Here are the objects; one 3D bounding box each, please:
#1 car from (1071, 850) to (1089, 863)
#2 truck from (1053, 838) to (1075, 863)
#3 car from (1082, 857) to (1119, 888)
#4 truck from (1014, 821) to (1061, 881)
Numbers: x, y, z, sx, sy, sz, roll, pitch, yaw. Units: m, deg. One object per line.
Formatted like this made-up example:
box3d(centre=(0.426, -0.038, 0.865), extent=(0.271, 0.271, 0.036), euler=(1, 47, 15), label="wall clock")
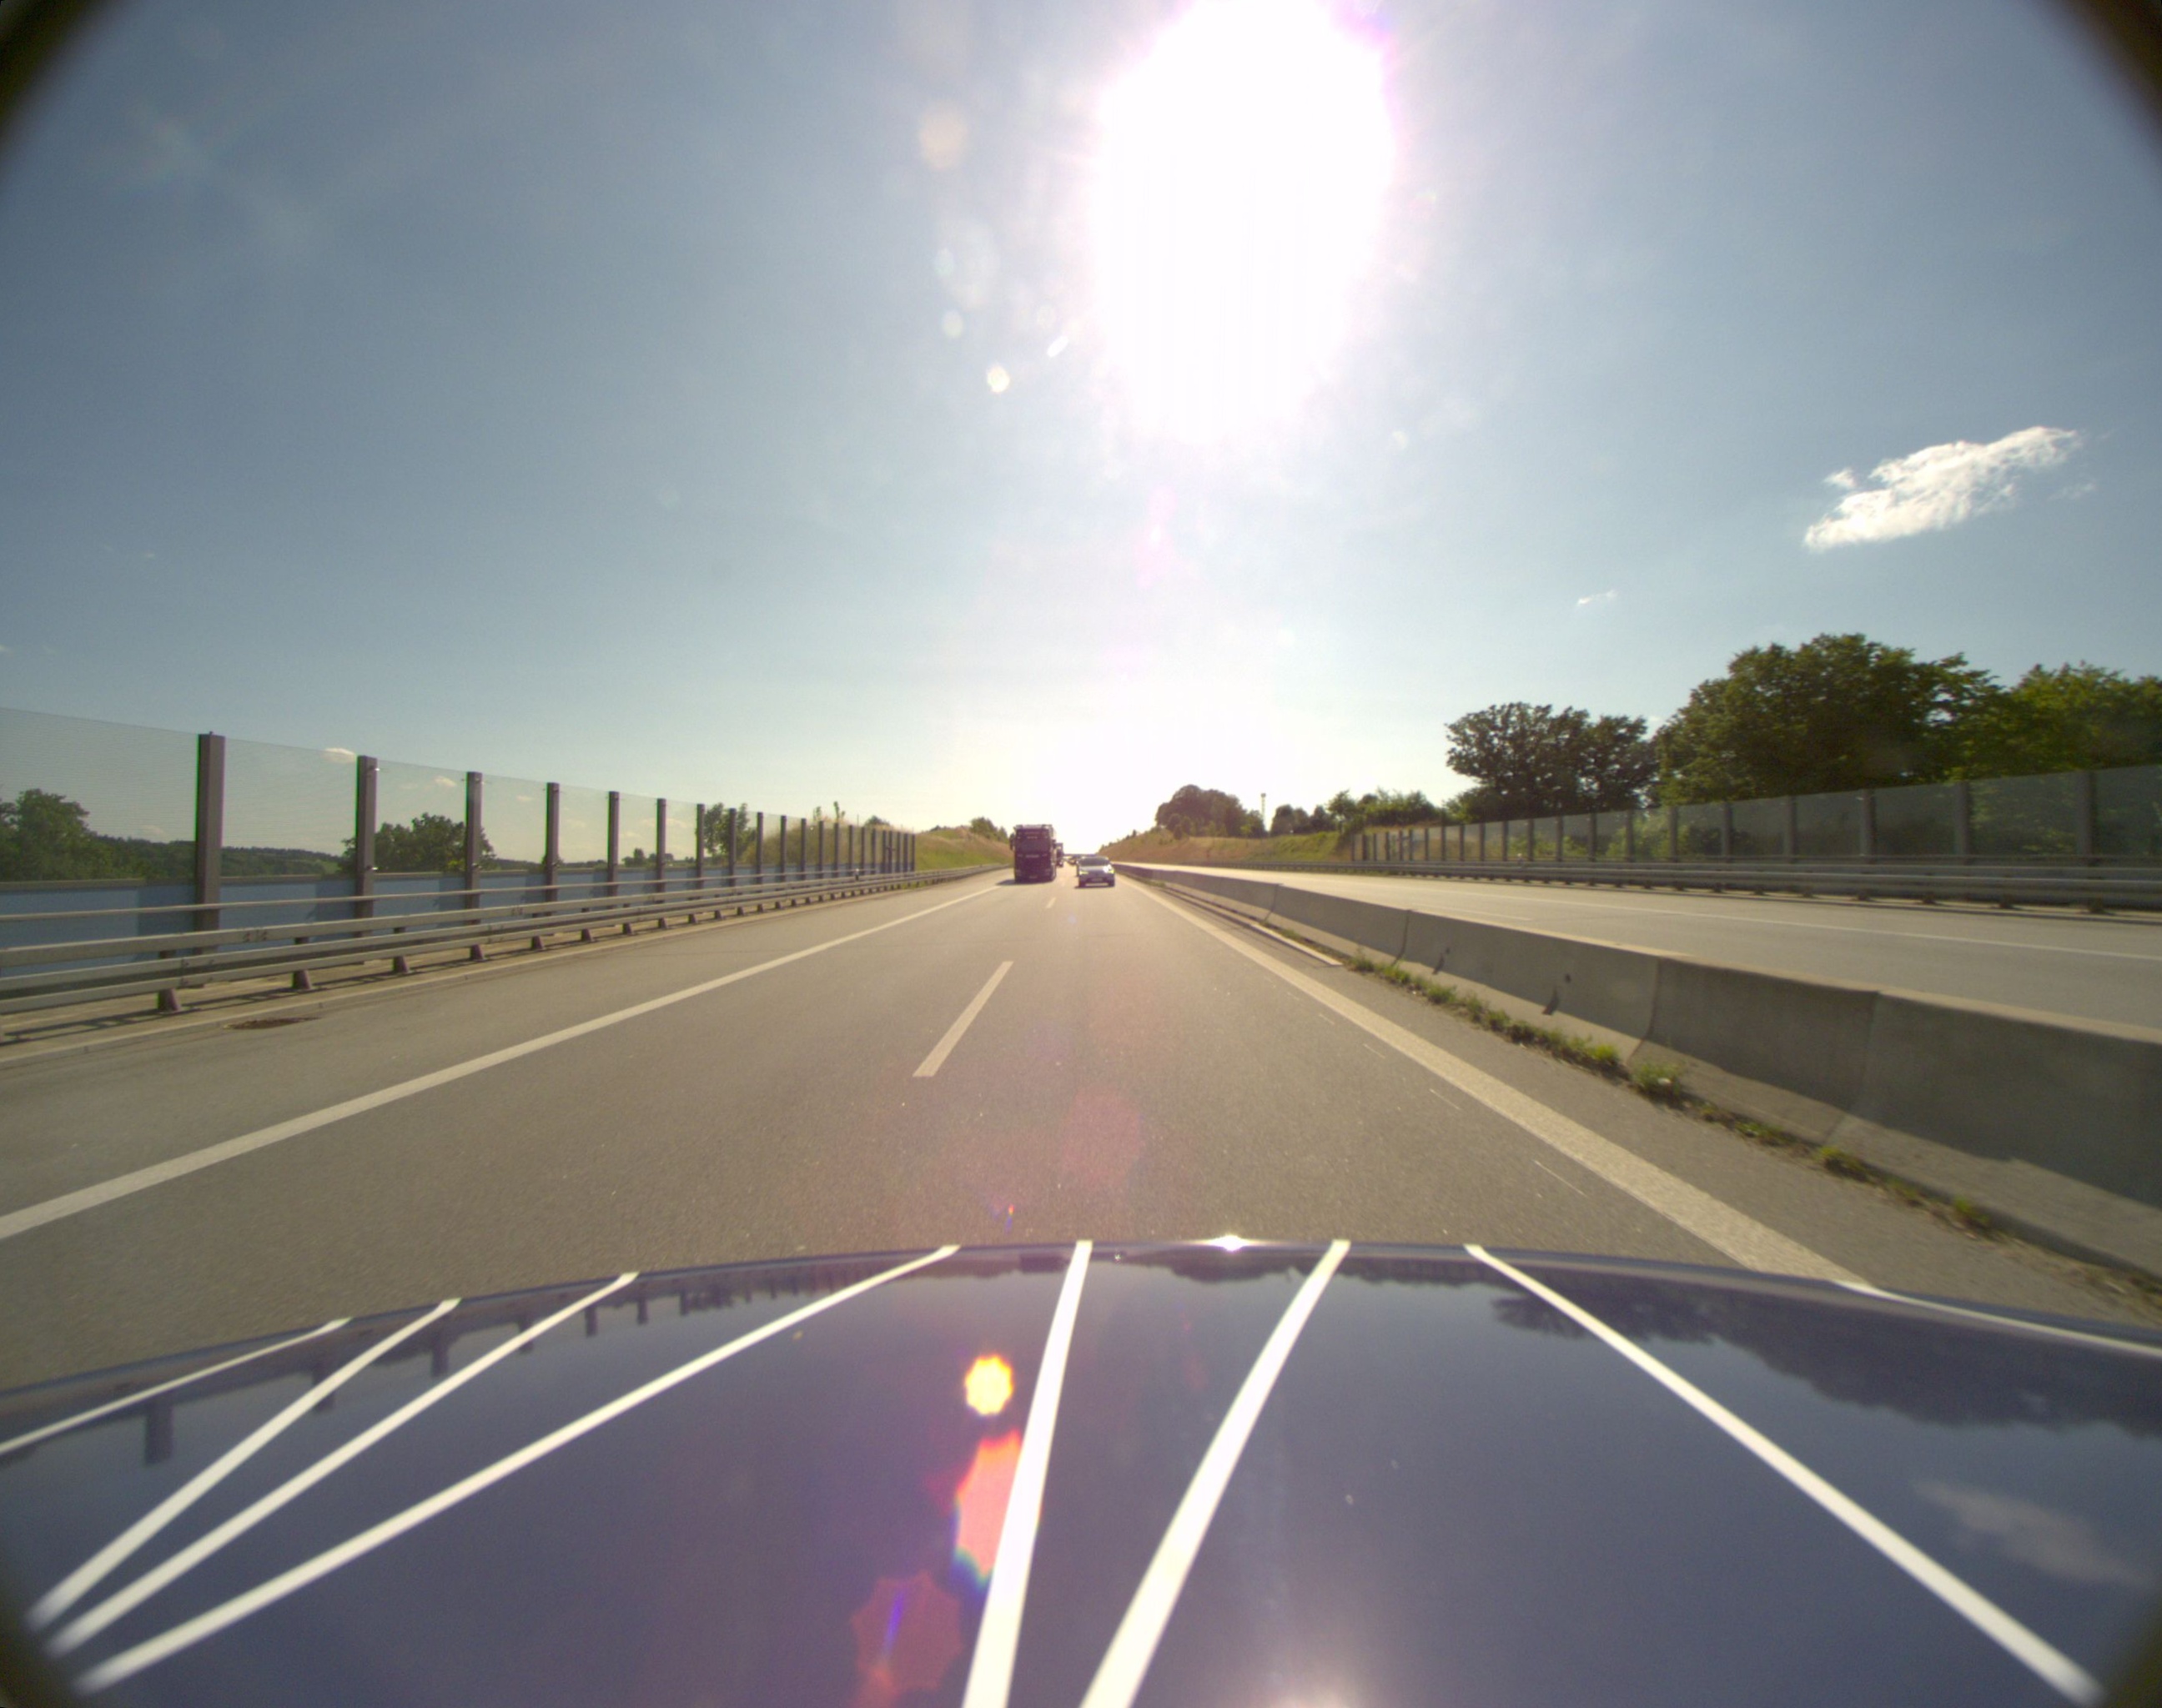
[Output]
box3d(centre=(-0.178, 0.394, 134.908), extent=(2.816, 2.143, 5.946), euler=(1, 0, -2), label="car")
box3d(centre=(-2.866, -0.511, 125.705), extent=(3.026, 3.795, 13.398), euler=(1, 0, -3), label="truck")
box3d(centre=(1.021, 0.902, 39.210), extent=(1.795, 1.501, 3.635), euler=(0, 0, 2), label="car")
box3d(centre=(-2.955, -0.183, 55.128), extent=(2.623, 3.795, 13.402), euler=(-1, 0, 0), label="truck")
